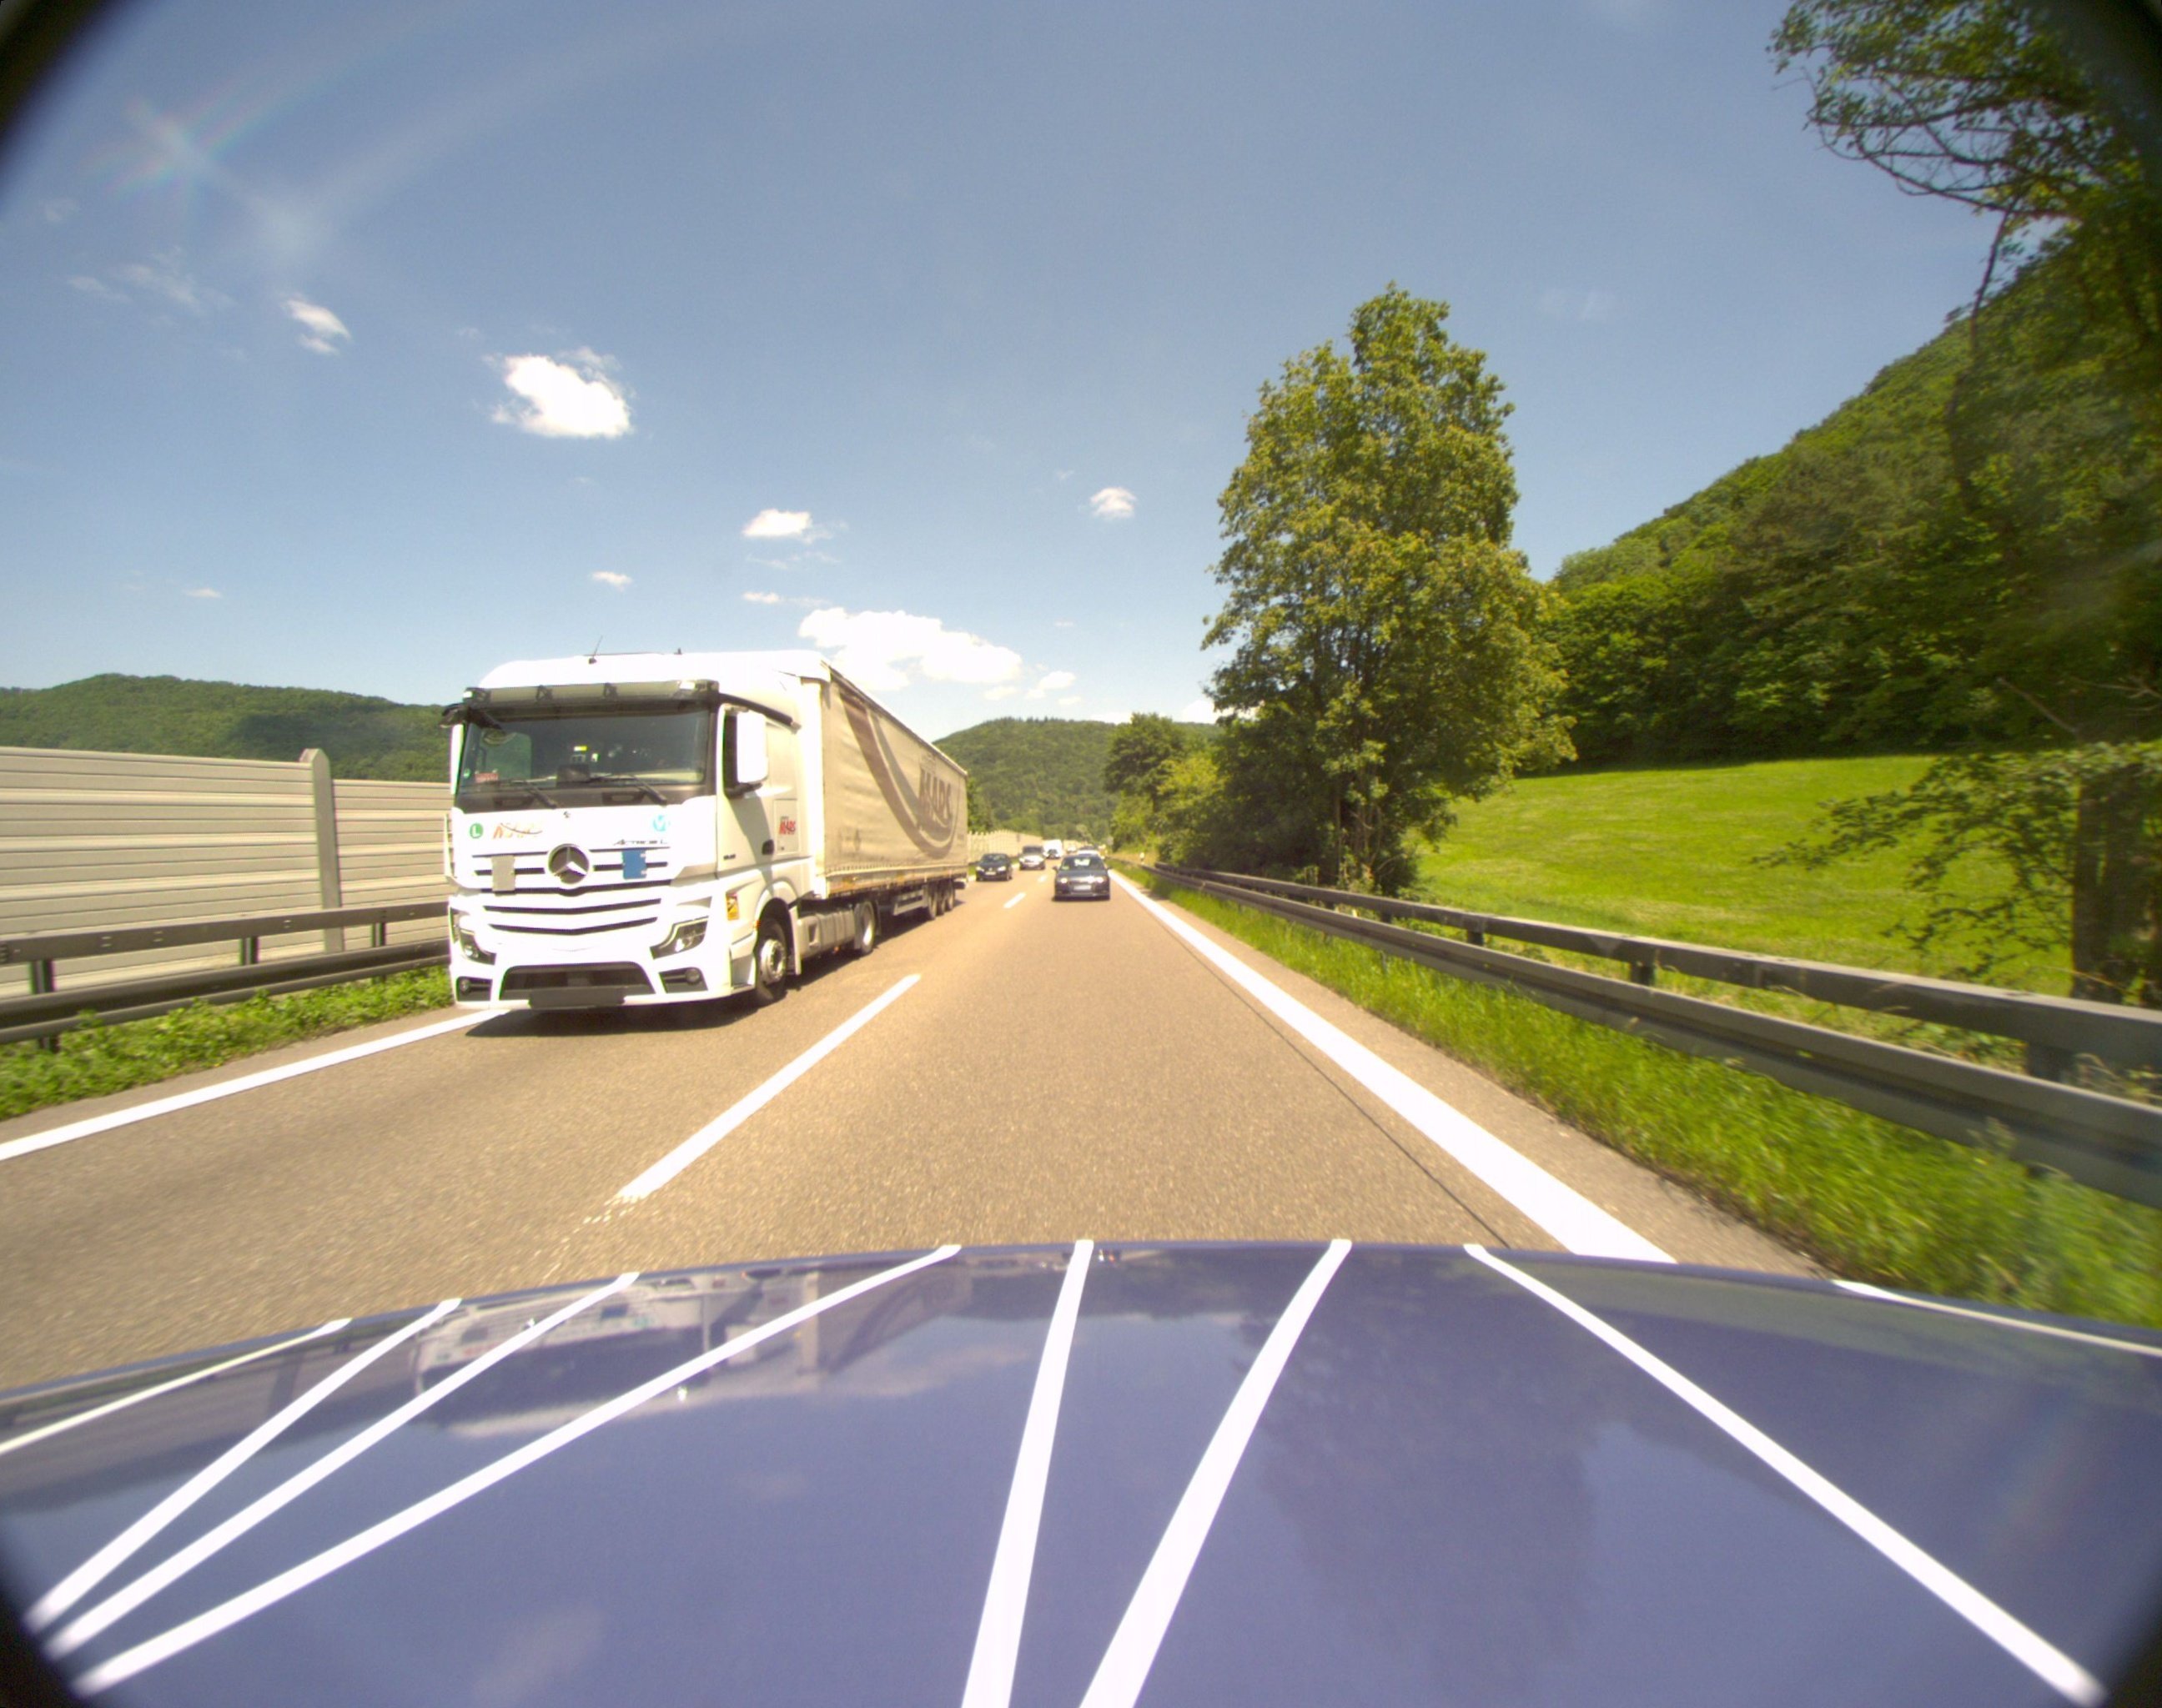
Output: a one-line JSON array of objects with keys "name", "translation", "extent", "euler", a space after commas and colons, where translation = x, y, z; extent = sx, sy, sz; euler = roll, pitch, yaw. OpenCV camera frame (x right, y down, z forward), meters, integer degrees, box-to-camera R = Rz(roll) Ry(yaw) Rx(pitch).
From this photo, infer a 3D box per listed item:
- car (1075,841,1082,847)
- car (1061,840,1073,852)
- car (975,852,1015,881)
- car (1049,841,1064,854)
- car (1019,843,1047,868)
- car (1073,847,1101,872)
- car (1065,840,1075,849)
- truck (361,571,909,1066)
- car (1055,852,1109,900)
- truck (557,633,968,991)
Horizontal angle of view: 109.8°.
[{"name": "car", "translation": [-0.836, -3.014, 225.719], "extent": [1.999, 1.722, 3.999], "euler": [3, 1, 0]}, {"name": "car", "translation": [-2.587, -1.524, 141.584], "extent": [1.998, 2.002, 3.999], "euler": [4, 2, 0]}, {"name": "car", "translation": [-4.415, 0.615, 39.551], "extent": [1.662, 1.405, 3.474], "euler": [0, 1, 0]}, {"name": "car", "translation": [-3.656, -0.971, 114.006], "extent": [1.998, 1.892, 4.000], "euler": [1, 0, 1]}, {"name": "car", "translation": [-3.760, 0.107, 59.810], "extent": [2.044, 1.855, 4.000], "euler": [-1, 0, -1]}, {"name": "car", "translation": [0.353, 0.323, 48.451], "extent": [1.715, 1.541, 3.999], "euler": [0, 1, 0]}, {"name": "car", "translation": [-2.561, -2.227, 179.917], "extent": [1.998, 2.002, 3.999], "euler": [4, 2, 0]}, {"name": "truck", "translation": [-4.449, -0.369, 9.728], "extent": [2.764, 4.016, 6.821], "euler": [-2, 2, 0]}, {"name": "car", "translation": [0.036, 0.677, 25.357], "extent": [1.662, 1.436, 3.474], "euler": [0, 1, 0]}, {"name": "truck", "translation": [-4.567, -0.516, 14.817], "extent": [2.861, 4.124, 12.045], "euler": [0, 0, 0]}]
